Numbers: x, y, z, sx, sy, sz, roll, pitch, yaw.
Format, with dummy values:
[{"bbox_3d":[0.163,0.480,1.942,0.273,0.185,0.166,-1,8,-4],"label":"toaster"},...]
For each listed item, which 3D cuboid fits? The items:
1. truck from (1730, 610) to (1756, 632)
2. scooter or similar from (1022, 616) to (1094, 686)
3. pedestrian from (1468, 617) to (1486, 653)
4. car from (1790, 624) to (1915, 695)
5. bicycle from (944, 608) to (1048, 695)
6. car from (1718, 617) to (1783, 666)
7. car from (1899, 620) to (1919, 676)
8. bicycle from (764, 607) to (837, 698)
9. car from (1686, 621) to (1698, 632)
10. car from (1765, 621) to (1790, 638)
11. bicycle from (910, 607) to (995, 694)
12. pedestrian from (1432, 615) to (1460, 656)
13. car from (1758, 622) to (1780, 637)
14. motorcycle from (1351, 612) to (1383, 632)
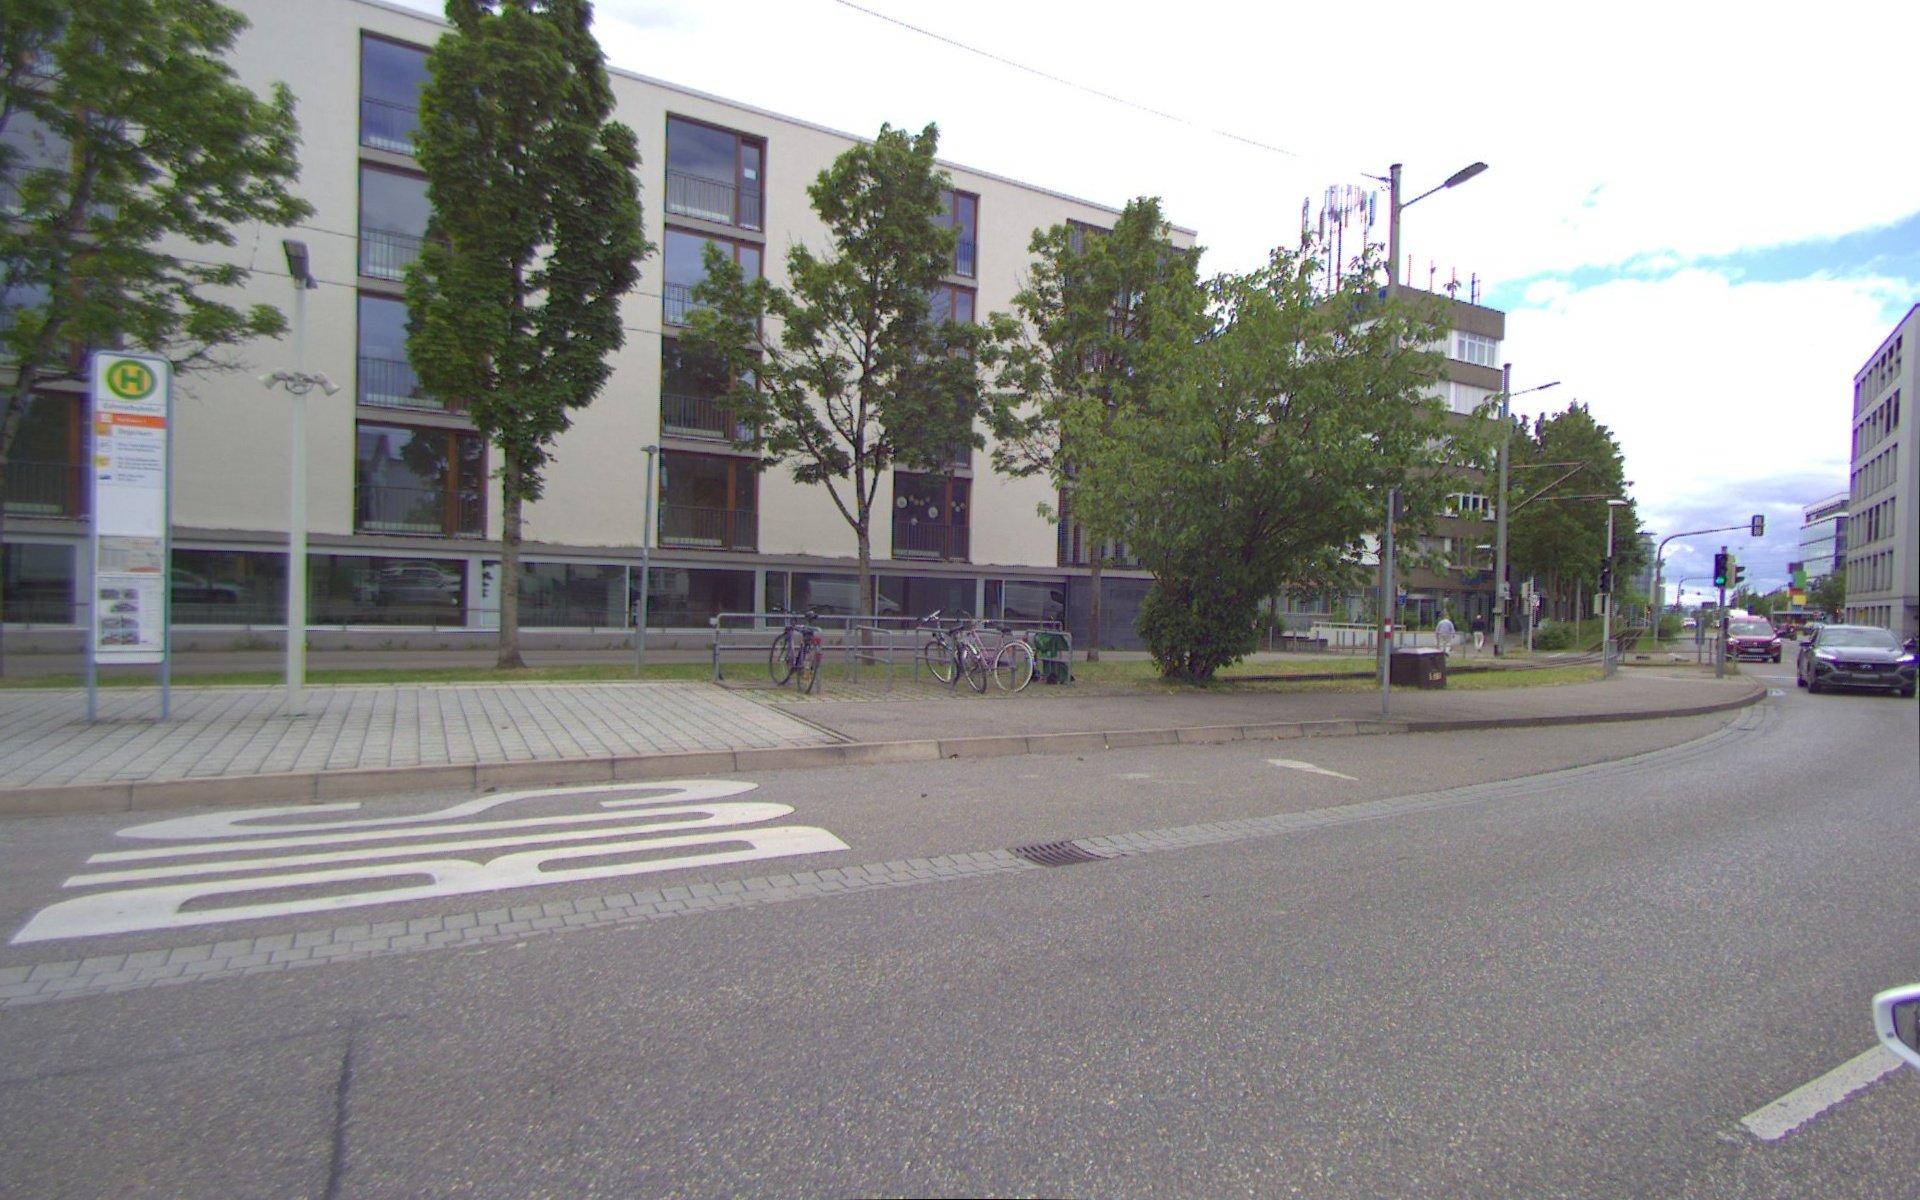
[{"bbox_3d":[98.118,2.631,125.951,2.136,2.650,5.779,1,0,34],"label":"truck"},{"bbox_3d":[1.514,0.775,15.495,0.767,1.023,0.781,1,0,-38],"label":"scooter or similar"},{"bbox_3d":[24.758,1.662,48.080,0.679,1.728,0.680,0,-1,37],"label":"pedestrian"},{"bbox_3d":[20.595,1.307,23.323,1.745,1.498,3.986,-1,-2,36],"label":"car"},{"bbox_3d":[0.485,0.708,14.400,0.405,1.103,1.689,1,2,-42],"label":"bicycle"},{"bbox_3d":[31.230,1.593,39.782,1.658,1.832,4.340,0,-1,33],"label":"car"},{"bbox_3d":[29.222,1.421,29.516,1.736,1.630,4.175,2,0,35],"label":"car"},{"bbox_3d":[-2.107,0.651,13.135,0.391,1.039,1.680,1,2,-28],"label":"bicycle"},{"bbox_3d":[131.486,4.723,180.467,1.645,1.907,3.986,2,0,36],"label":"car"},{"bbox_3d":[80.838,2.905,99.369,1.737,1.630,4.171,2,0,38],"label":"car"},{"bbox_3d":[-0.139,0.678,14.021,0.403,1.060,1.741,1,2,-28],"label":"bicycle"},{"bbox_3d":[18.577,1.347,38.384,0.836,1.547,0.993,0,-1,34],"label":"pedestrian"},{"bbox_3d":[91.607,3.289,113.765,1.737,1.630,4.171,2,0,38],"label":"car"},{"bbox_3d":[25.363,1.377,62.675,0.562,1.215,1.868,1,0,-32],"label":"motorcycle"}]
